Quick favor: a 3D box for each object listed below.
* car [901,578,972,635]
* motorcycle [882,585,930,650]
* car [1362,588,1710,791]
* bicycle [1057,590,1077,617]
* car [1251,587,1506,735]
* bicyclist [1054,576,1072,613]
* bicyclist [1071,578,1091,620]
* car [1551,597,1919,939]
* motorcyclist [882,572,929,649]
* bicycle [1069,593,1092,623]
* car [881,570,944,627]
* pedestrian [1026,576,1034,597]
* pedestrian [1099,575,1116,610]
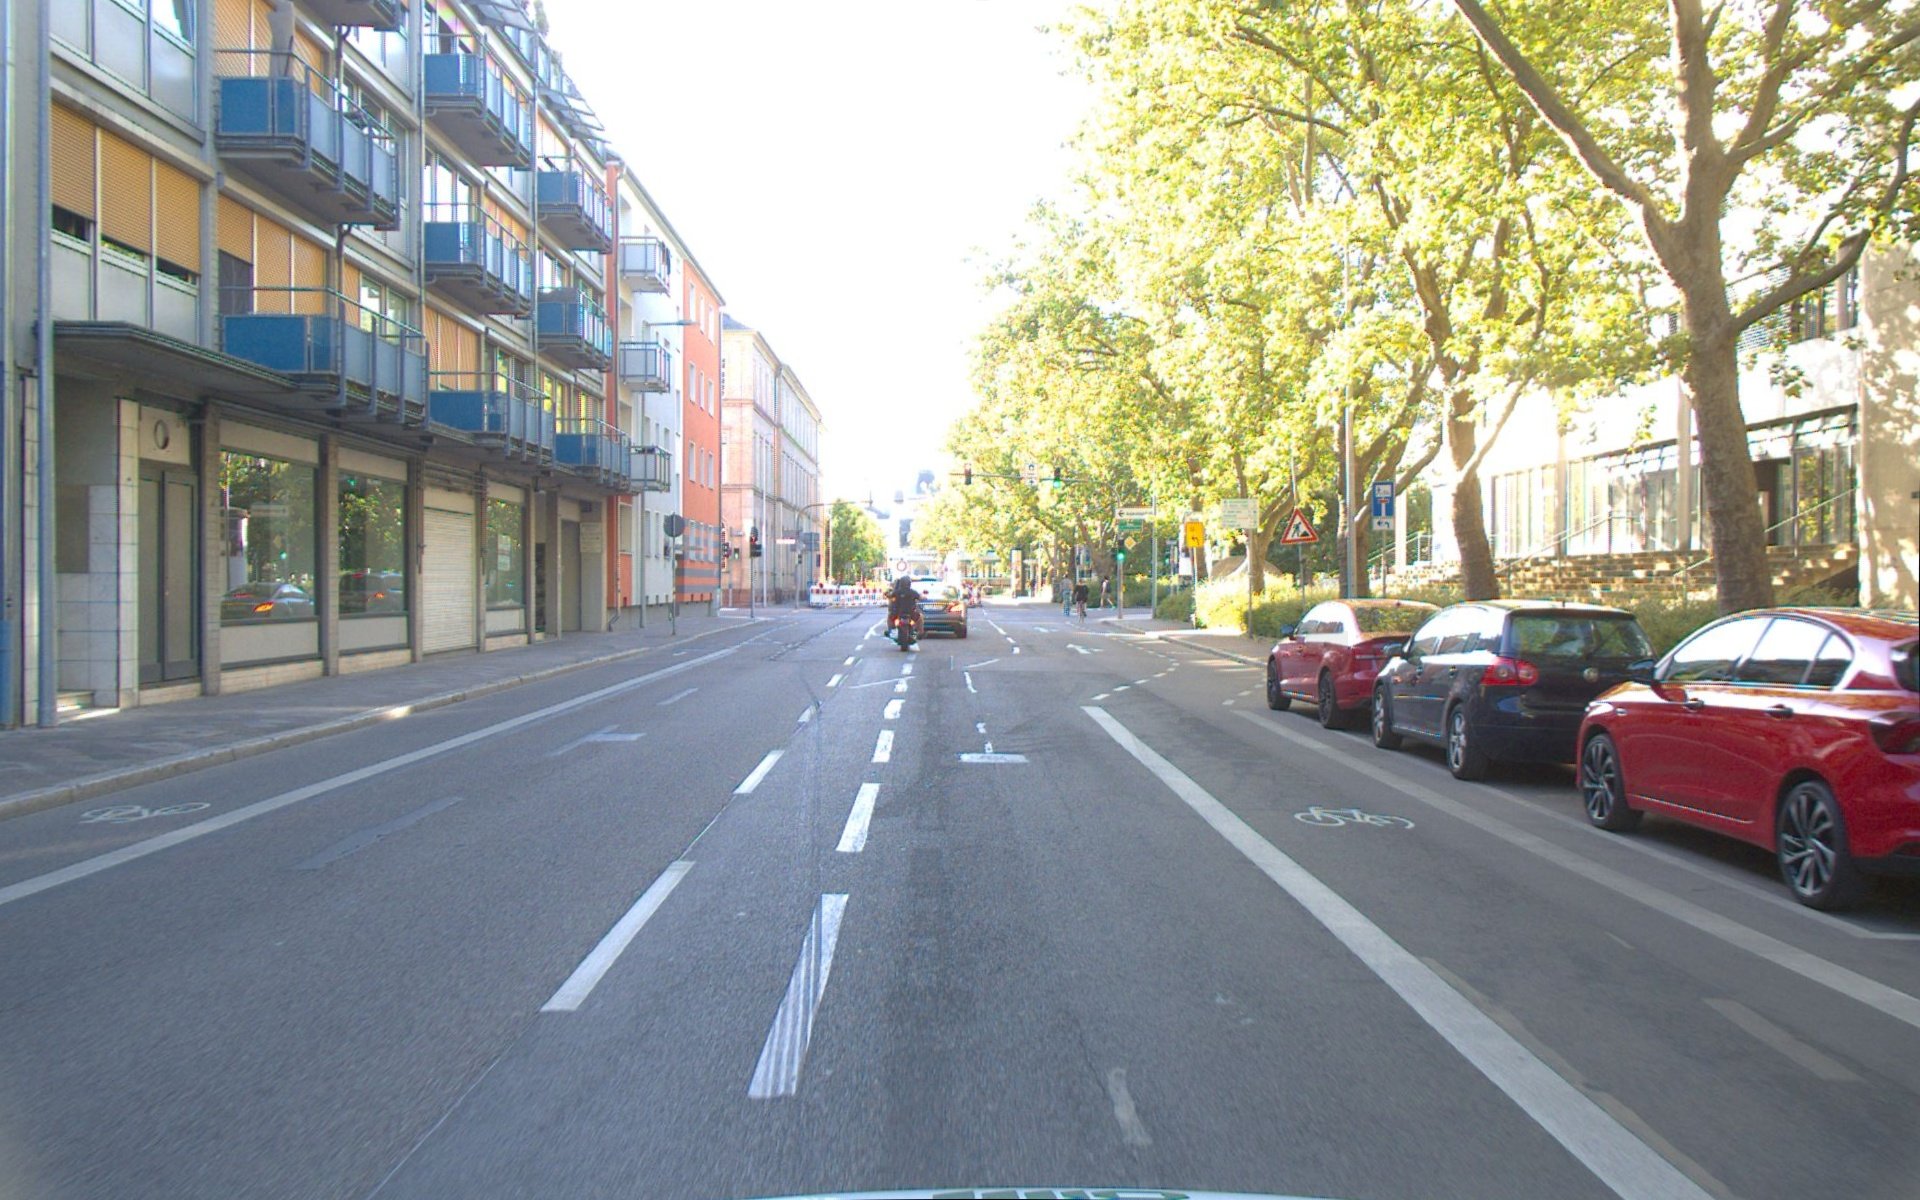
[{"bbox_3d":[-0.645,0.142,43.815,1.791,1.445,3.814,0,1,-2],"label":"car"},{"bbox_3d":[-1.158,0.350,35.685,0.992,1.329,2.672,0,1,-2],"label":"motorcycle"},{"bbox_3d":[4.956,0.682,14.841,1.658,1.492,4.065,2,1,0],"label":"car"},{"bbox_3d":[4.562,0.146,70.747,0.643,1.131,2.185,1,0,-1],"label":"bicycle"},{"bbox_3d":[4.801,0.624,19.640,1.659,1.474,4.433,2,1,-3],"label":"car"},{"bbox_3d":[4.396,-0.223,70.797,0.643,1.557,0.906,1,0,-2],"label":"bicyclist"},{"bbox_3d":[4.531,-0.048,62.147,0.643,1.557,0.852,1,0,-2],"label":"bicyclist"},{"bbox_3d":[5.103,0.786,9.663,1.658,1.504,4.318,2,1,-1],"label":"car"},{"bbox_3d":[-1.172,0.217,35.689,0.992,1.630,1.405,0,1,-2],"label":"motorcyclist"},{"bbox_3d":[4.535,0.292,62.195,0.643,1.089,1.926,1,0,-2],"label":"bicycle"},{"bbox_3d":[-1.526,-0.070,51.906,1.599,1.679,3.845,1,0,-7],"label":"car"},{"bbox_3d":[5.489,-1.075,130.004,0.580,1.606,0.527,1,0,-1],"label":"pedestrian"},{"bbox_3d":[7.846,-0.403,87.911,0.566,1.805,0.617,1,0,-38],"label":"pedestrian"}]
